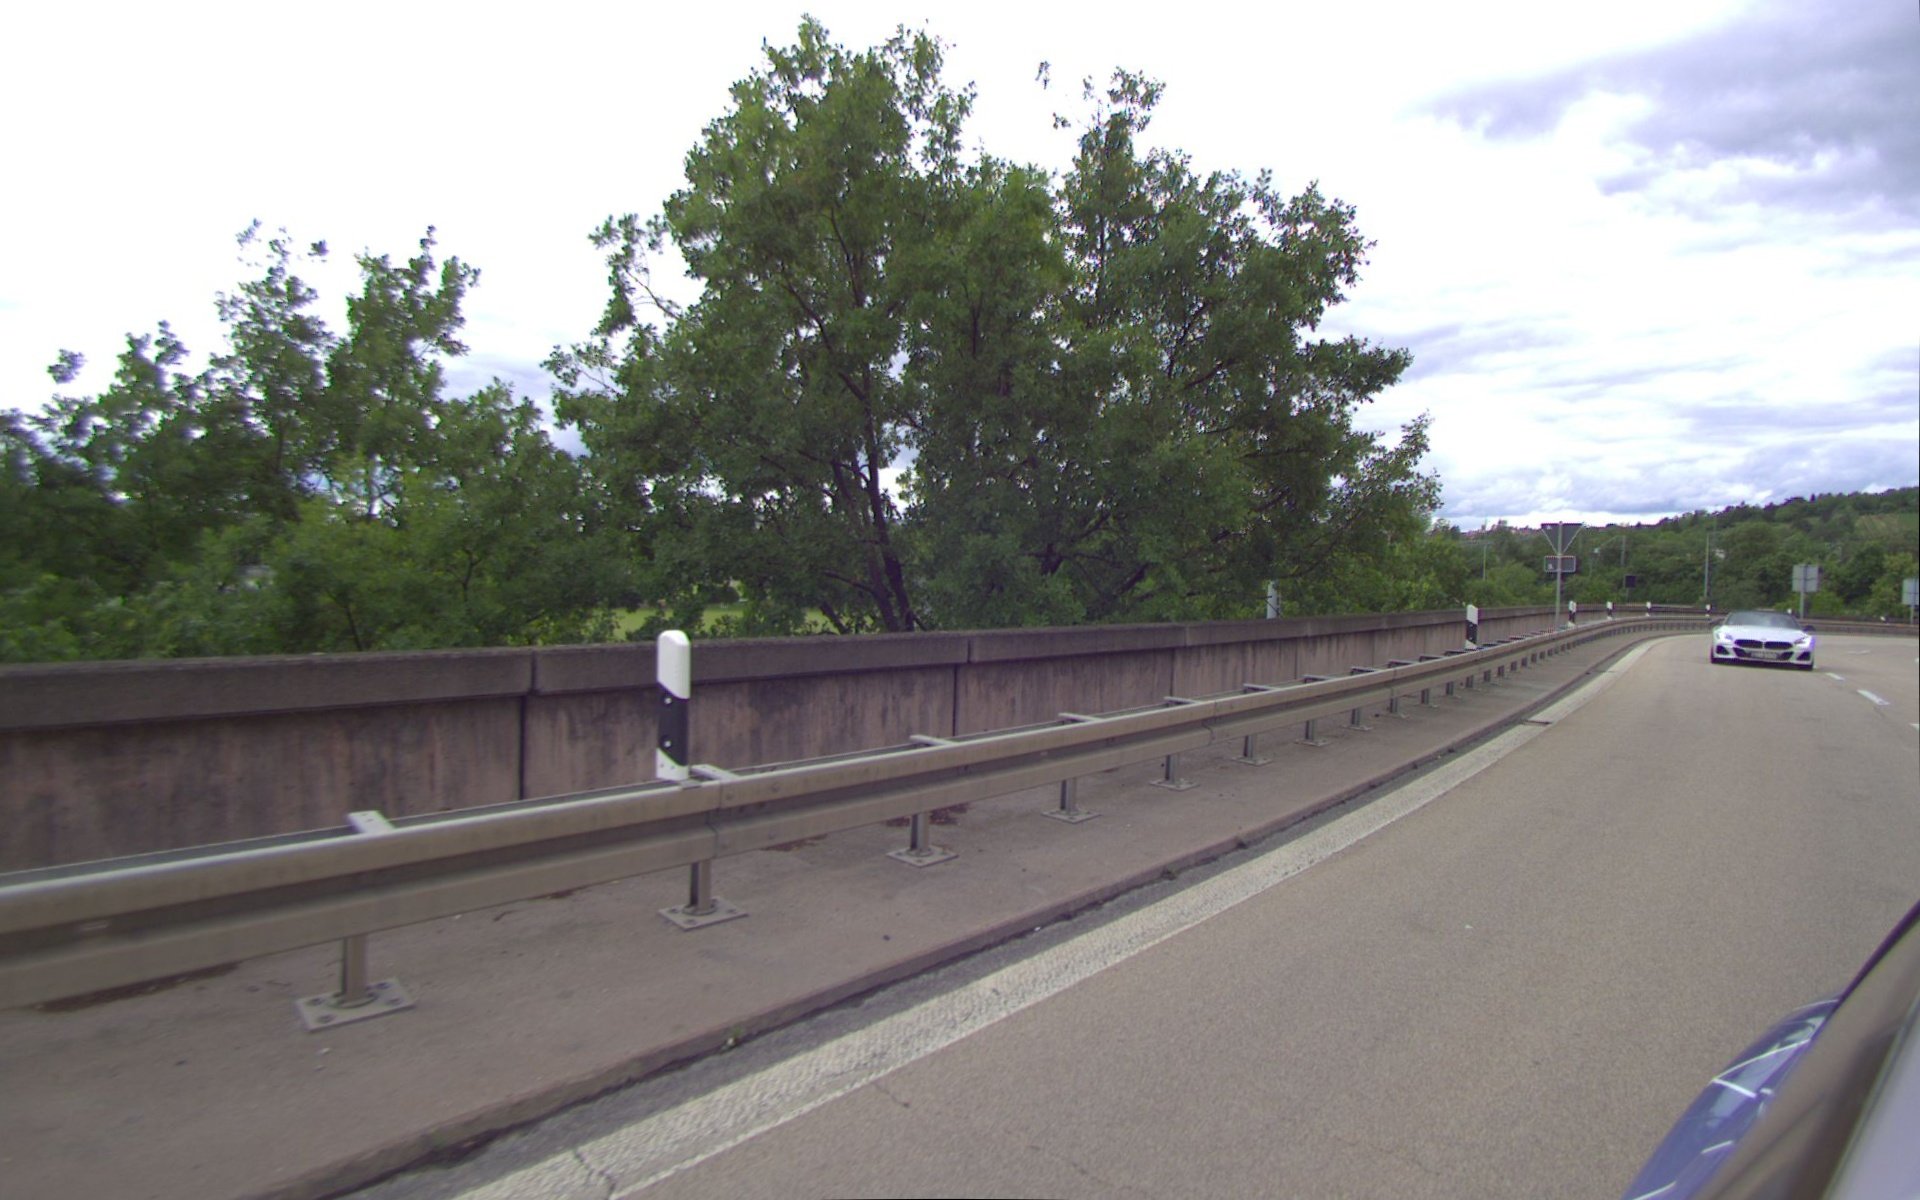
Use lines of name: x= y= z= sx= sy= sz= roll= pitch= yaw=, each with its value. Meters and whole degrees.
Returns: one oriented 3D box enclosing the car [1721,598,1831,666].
car: x=19.516 y=0.681 z=24.197 sx=1.856 sy=1.361 sz=4.755 roll=2 pitch=2 yaw=40
